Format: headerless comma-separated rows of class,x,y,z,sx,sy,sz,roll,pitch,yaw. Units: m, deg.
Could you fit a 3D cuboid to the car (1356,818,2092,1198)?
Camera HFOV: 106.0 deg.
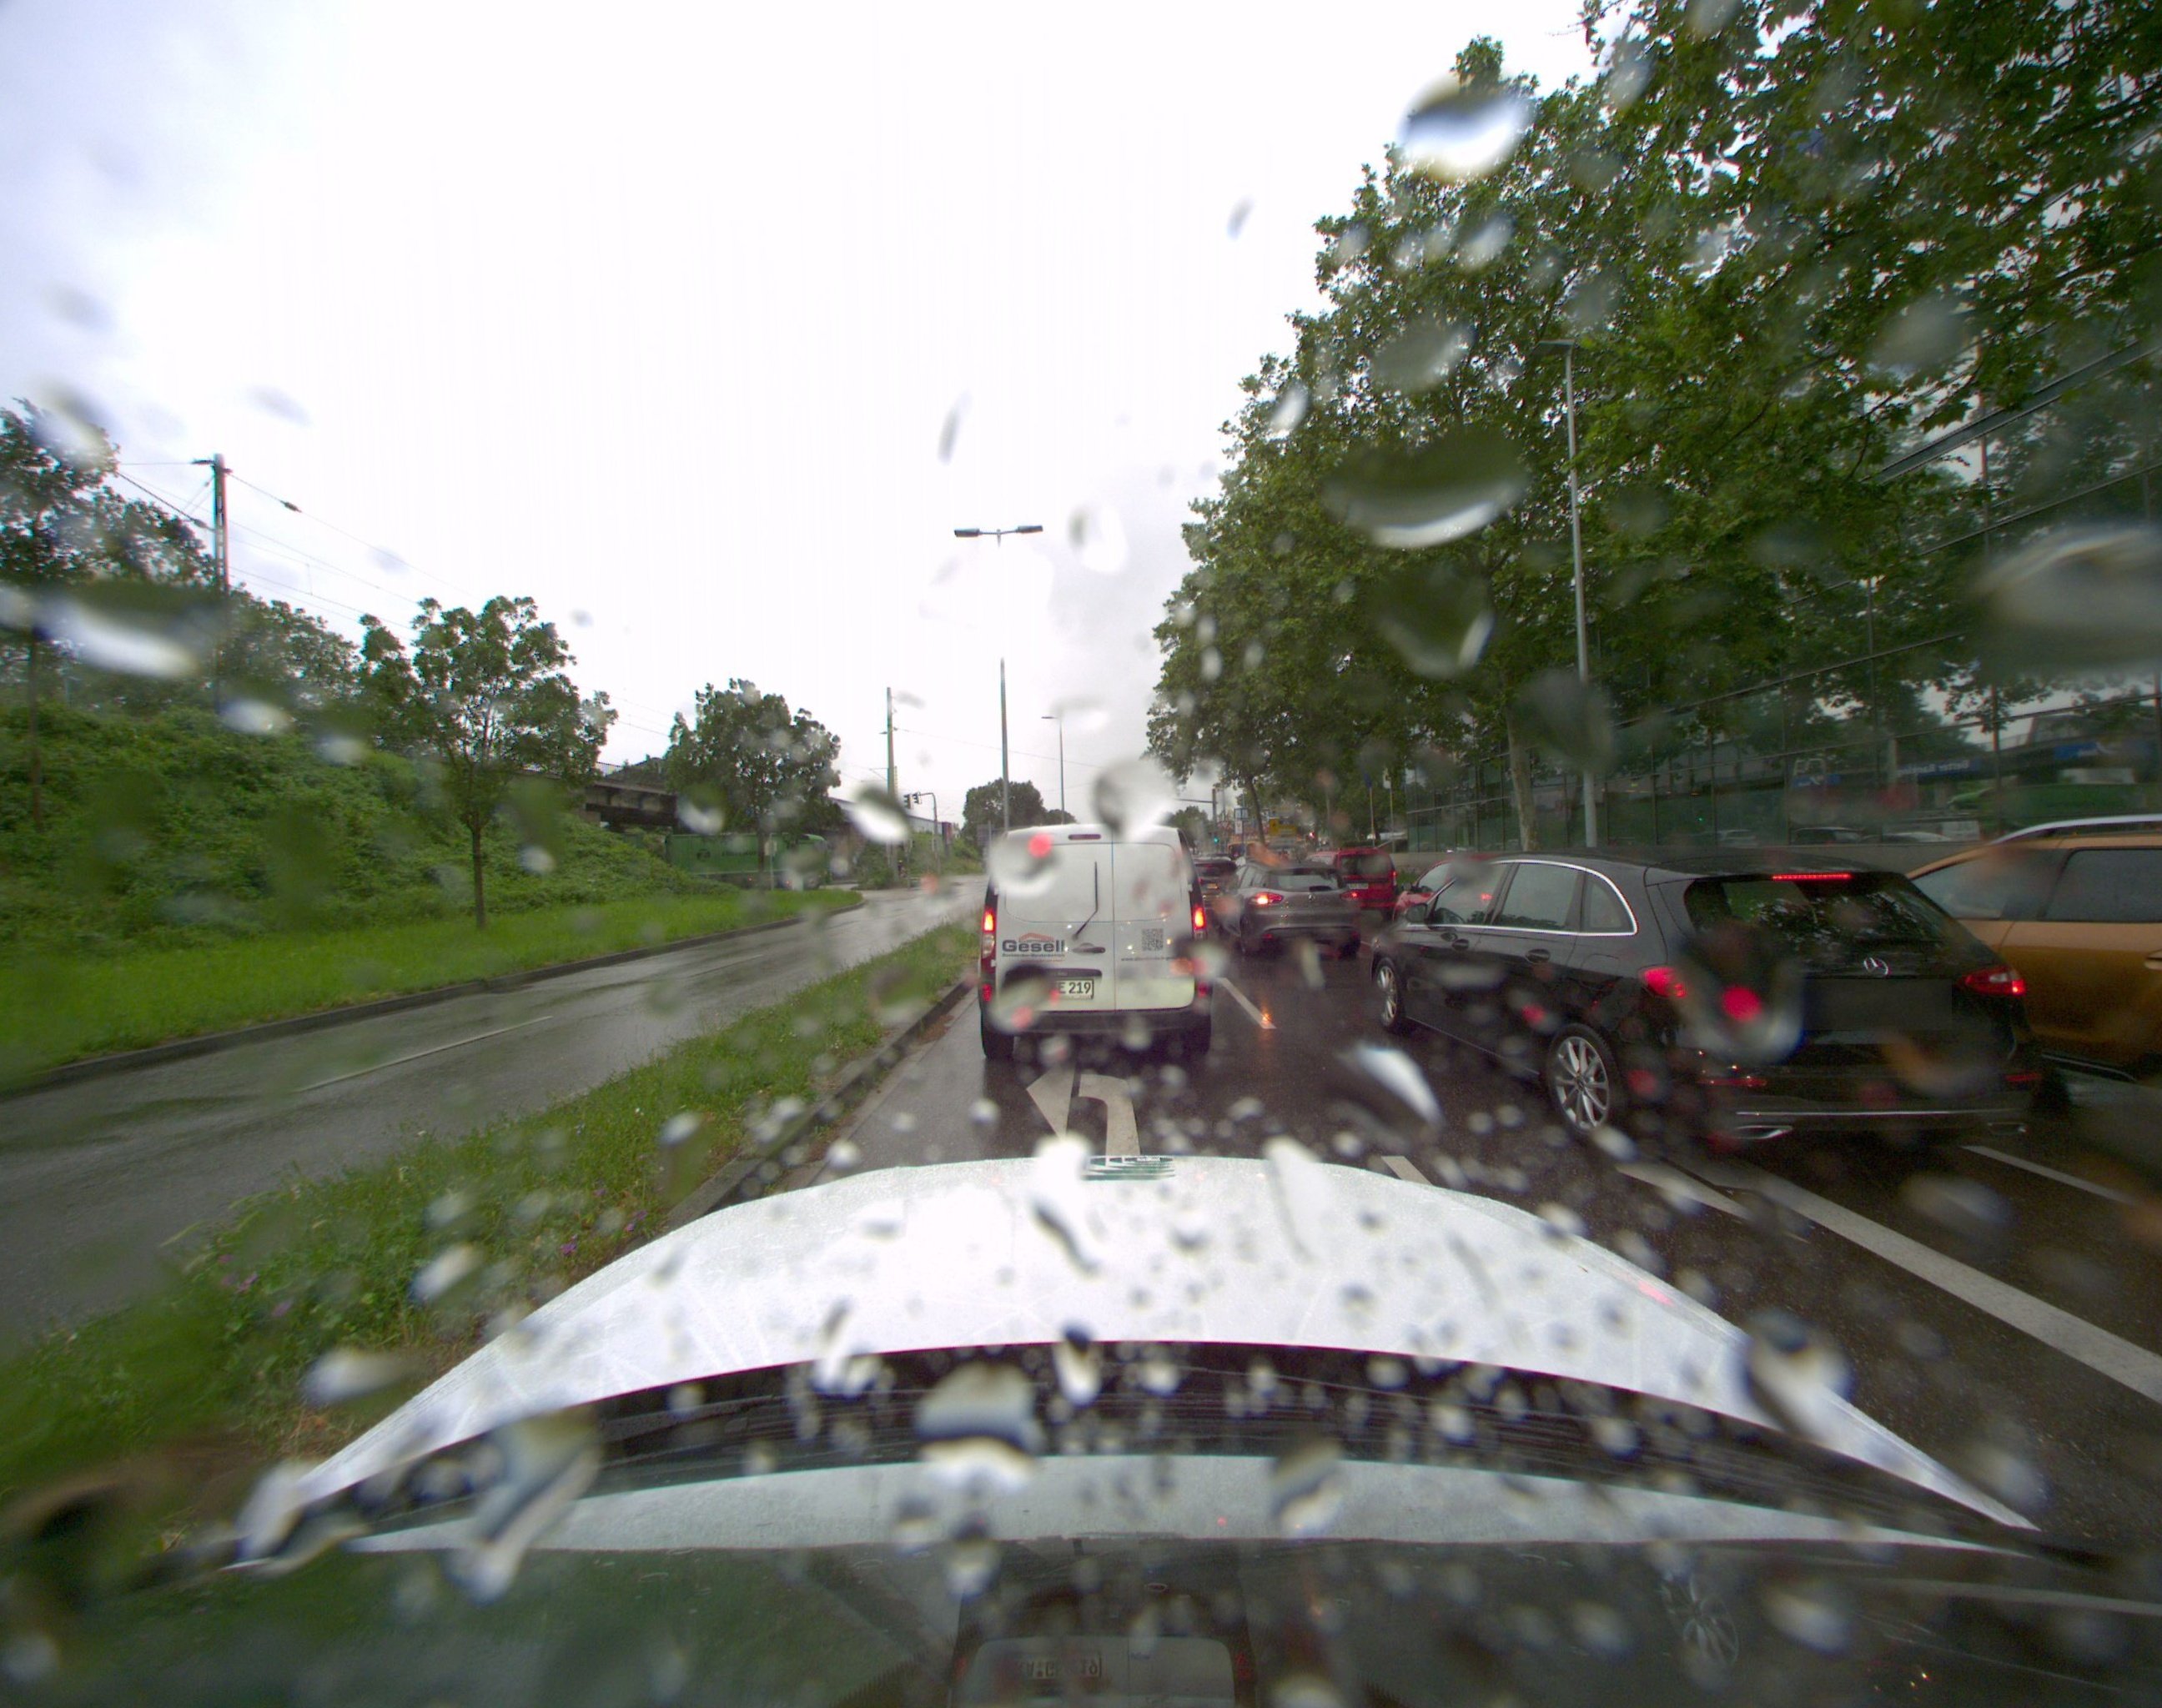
car,3.378,0.646,5.454,1.741,1.554,4.091,-1,0,1

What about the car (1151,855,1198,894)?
car,4.300,0.925,38.112,1.847,1.649,3.844,-1,0,2

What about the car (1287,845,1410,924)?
car,6.363,0.686,19.846,1.704,1.694,4.273,0,-1,2

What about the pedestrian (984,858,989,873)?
pedestrian,-11.245,1.364,96.564,0.541,1.716,0.563,0,-1,-2

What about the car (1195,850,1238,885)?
car,7.096,0.691,42.966,1.701,1.728,3.844,-1,0,2

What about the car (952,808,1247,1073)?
car,0.198,0.588,7.884,1.986,1.776,4.587,-1,0,2

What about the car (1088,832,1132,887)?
car,1.299,0.210,36.566,1.847,2.296,3.844,-1,0,2

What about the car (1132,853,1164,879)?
car,4.410,0.785,53.869,1.847,1.650,3.844,-1,-1,2

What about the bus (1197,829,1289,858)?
bus,21.887,-1.359,110.596,11.926,3.423,2.316,-2,0,1

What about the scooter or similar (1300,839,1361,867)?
scooter or similar,23.446,-0.086,76.691,1.905,2.446,5.257,-1,0,-39

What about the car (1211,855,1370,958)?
car,3.245,0.745,13.355,1.677,1.408,3.844,0,0,1

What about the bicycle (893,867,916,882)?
bicycle,-12.155,1.372,56.014,1.045,0.952,2.866,-2,0,-22

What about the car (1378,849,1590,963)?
car,5.896,0.676,12.354,1.563,1.462,3.390,-1,0,1

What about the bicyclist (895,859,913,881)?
bicyclist,-12.146,1.115,55.961,1.045,1.450,0.723,-2,0,-23

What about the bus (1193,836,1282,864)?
bus,21.973,-0.546,114.552,11.939,3.423,2.481,-2,0,-2

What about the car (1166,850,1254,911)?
car,3.395,0.660,22.103,1.847,1.460,3.844,-1,0,2

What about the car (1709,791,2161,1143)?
car,6.049,0.537,4.757,1.668,1.685,4.149,0,1,2

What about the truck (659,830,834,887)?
truck,-21.266,0.191,52.338,10.105,3.371,2.322,-2,0,-35
